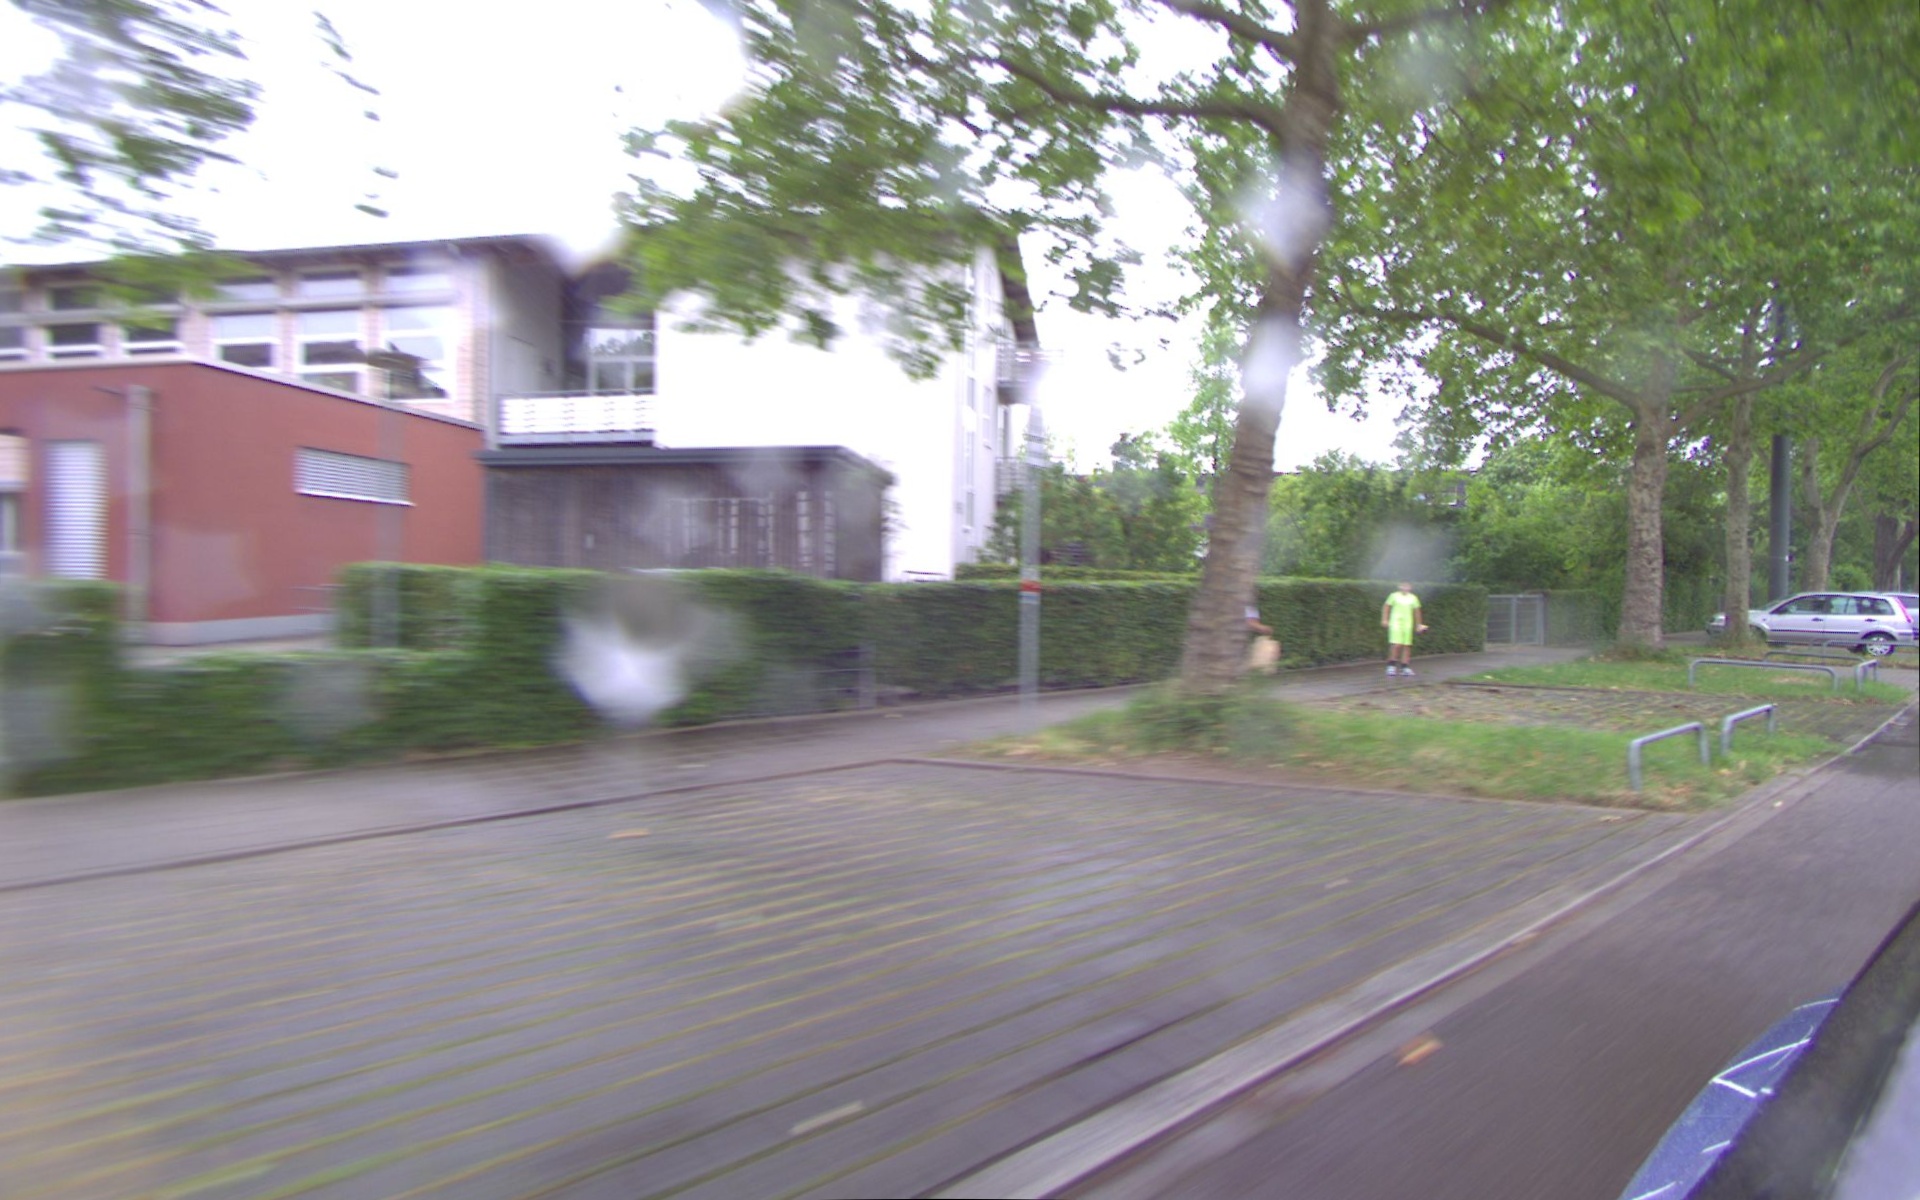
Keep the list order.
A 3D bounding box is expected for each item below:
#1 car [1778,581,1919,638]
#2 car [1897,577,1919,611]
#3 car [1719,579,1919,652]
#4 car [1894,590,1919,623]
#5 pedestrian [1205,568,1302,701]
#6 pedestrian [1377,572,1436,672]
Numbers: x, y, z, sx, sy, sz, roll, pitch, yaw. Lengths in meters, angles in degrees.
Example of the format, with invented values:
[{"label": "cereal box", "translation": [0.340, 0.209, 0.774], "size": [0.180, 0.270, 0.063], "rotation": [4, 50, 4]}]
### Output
[{"label": "car", "translation": [29.293, 0.283, 32.156], "size": [4.701, 1.689, 1.988], "rotation": [1, 1, 12]}, {"label": "car", "translation": [61.074, -0.295, 62.031], "size": [4.954, 2.039, 1.992], "rotation": [2, 1, 13]}, {"label": "car", "translation": [21.253, 0.338, 24.927], "size": [3.836, 1.585, 1.602], "rotation": [3, 2, 31]}, {"label": "car", "translation": [48.403, 0.444, 48.759], "size": [4.497, 1.564, 1.878], "rotation": [4, 2, 16]}, {"label": "pedestrian", "translation": [3.648, 0.395, 12.589], "size": [0.833, 1.557, 0.846], "rotation": [2, 2, 44]}, {"label": "pedestrian", "translation": [7.199, 0.334, 16.299], "size": [0.556, 1.557, 0.951], "rotation": [1, 1, 44]}]
